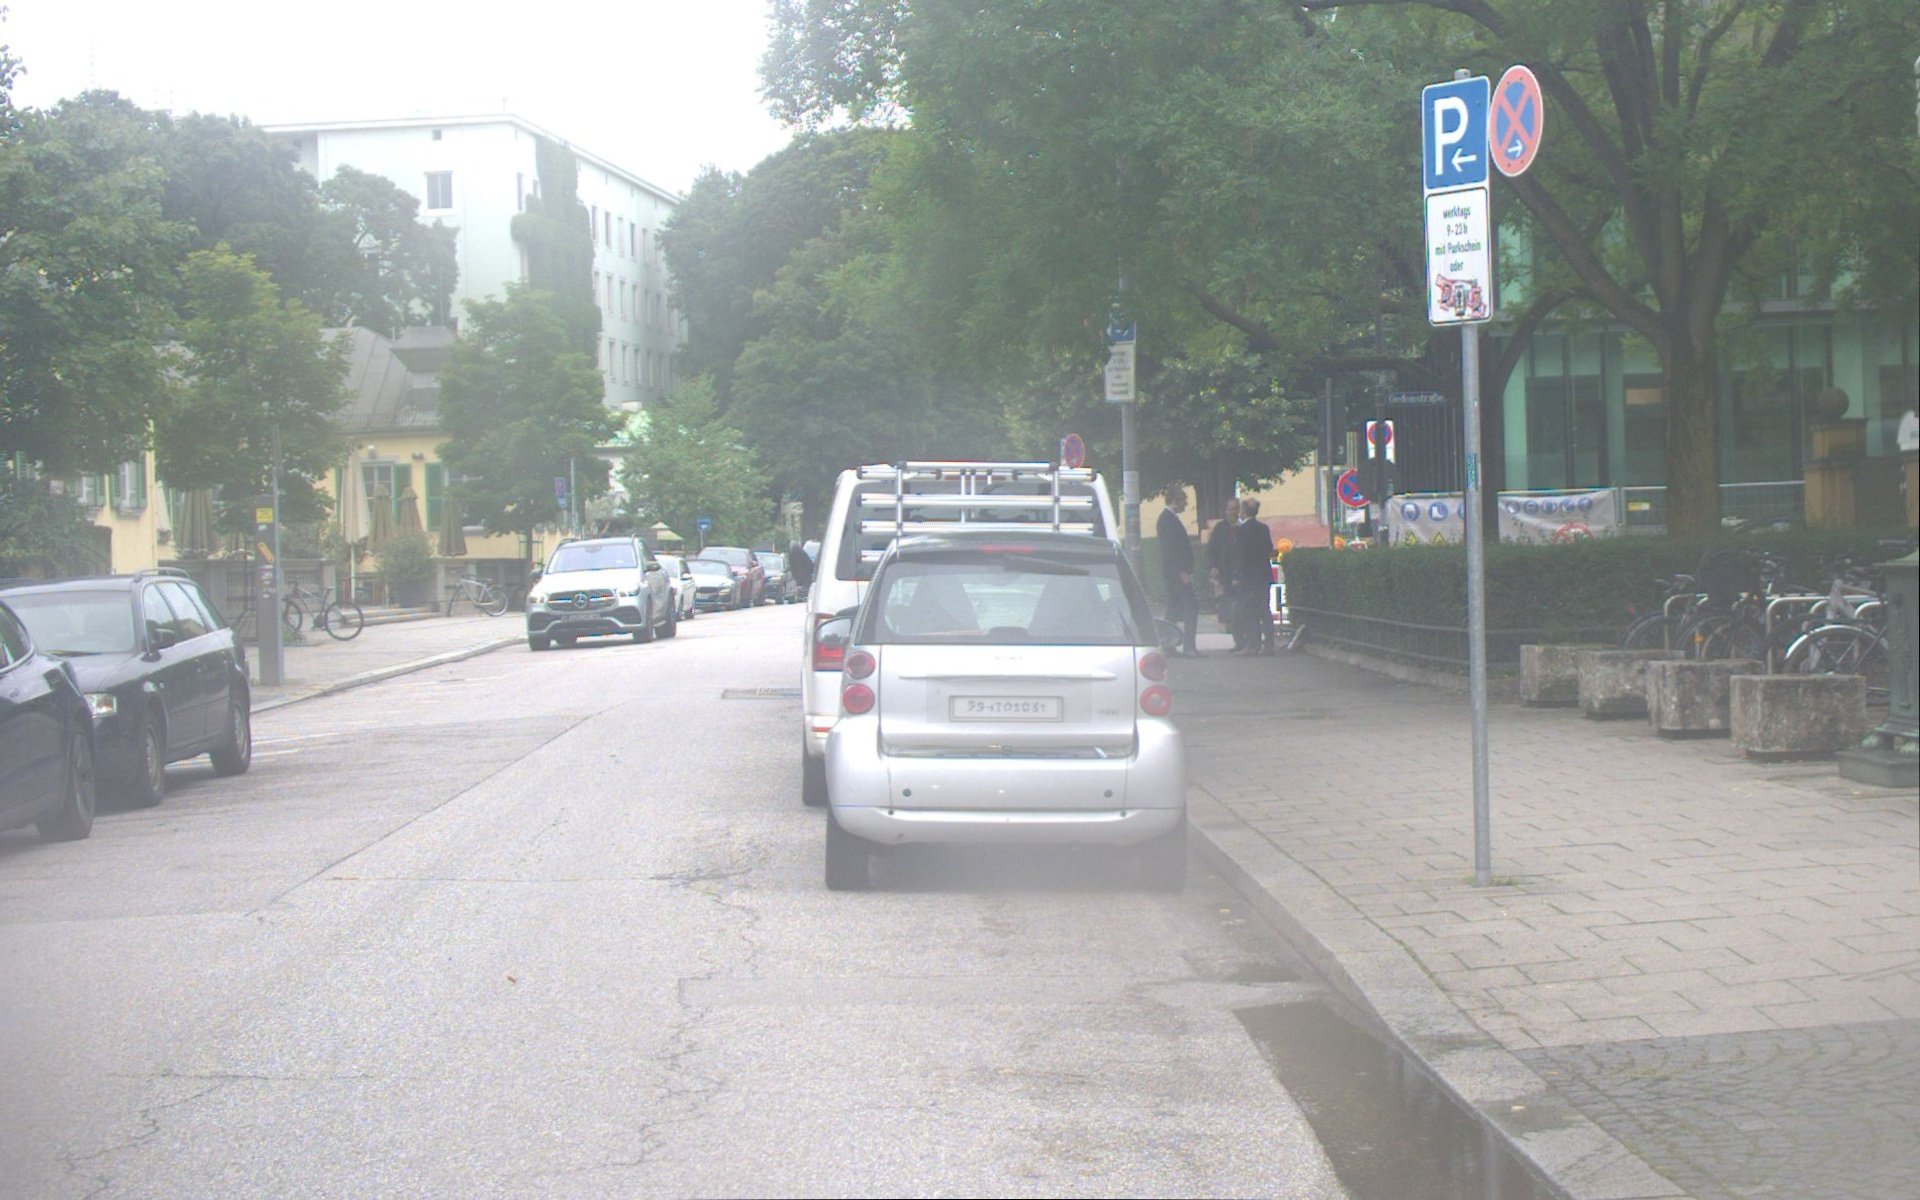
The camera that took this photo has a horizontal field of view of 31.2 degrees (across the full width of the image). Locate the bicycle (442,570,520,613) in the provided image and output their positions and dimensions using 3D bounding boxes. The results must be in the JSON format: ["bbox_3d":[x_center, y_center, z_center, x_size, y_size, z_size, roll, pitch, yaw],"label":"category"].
[{"bbox_3d":[-10.928,-0.196,78.434,1.613,0.922,0.651,-1,-1,-25],"label":"bicycle"}]

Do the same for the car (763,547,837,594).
[{"bbox_3d":[-5.300,-0.989,114.233,1.994,1.481,4.000,-1,1,3],"label":"car"}]

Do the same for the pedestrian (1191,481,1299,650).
[{"bbox_3d":[3.291,-0.401,39.659,0.744,1.901,1.054,-2,1,34],"label":"pedestrian"}]

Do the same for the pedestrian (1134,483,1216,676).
[{"bbox_3d":[2.422,-0.236,38.831,0.742,2.127,1.056,-2,1,-2],"label":"pedestrian"}]

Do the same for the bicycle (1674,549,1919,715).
[{"bbox_3d":[6.215,0.226,24.917,1.931,1.109,0.471,-3,1,1],"label":"bicycle"}]

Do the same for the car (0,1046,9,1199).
[{"bbox_3d":[-3.067,0.563,5.045,1.960,1.676,4.912,-3,1,-1],"label":"car"}]

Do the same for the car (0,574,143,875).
[{"bbox_3d":[-5.632,0.641,17.507,1.922,1.434,4.918,-3,1,-3],"label":"car"}]

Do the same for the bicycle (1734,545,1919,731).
[{"bbox_3d":[5.952,0.218,21.804,1.931,1.109,0.471,-3,1,1],"label":"bicycle"}]

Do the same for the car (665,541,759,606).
[{"bbox_3d":[-6.555,-0.721,91.285,1.993,1.643,4.655,-1,1,2],"label":"car"}]

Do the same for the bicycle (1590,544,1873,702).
[{"bbox_3d":[5.920,0.172,26.402,2.031,1.109,0.471,-3,1,-4],"label":"bicycle"}]

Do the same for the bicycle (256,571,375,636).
[{"bbox_3d":[-11.100,0.058,59.247,1.930,1.095,0.615,1,1,2],"label":"bicycle"}]

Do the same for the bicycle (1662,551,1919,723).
[{"bbox_3d":[5.964,0.254,24.124,1.931,1.109,0.471,-3,1,1],"label":"bicycle"}]

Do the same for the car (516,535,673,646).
[{"bbox_3d":[-5.968,-0.197,56.678,2.024,1.683,4.677,-2,1,0],"label":"car"}]

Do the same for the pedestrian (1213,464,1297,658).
[{"bbox_3d":[3.309,-0.440,38.590,0.742,2.127,1.056,-2,1,-2],"label":"pedestrian"}]

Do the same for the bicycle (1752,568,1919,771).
[{"bbox_3d":[5.615,0.371,19.857,1.931,1.109,0.471,-3,1,-4],"label":"bicycle"}]

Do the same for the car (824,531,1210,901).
[{"bbox_3d":[0.212,0.463,15.928,1.605,1.541,2.934,1,1,-1],"label":"car"}]

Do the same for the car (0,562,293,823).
[{"bbox_3d":[-5.914,0.548,22.765,1.993,1.485,4.883,-3,1,0],"label":"car"}]

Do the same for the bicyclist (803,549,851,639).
[{"bbox_3d":[-2.102,-0.098,54.517,0.704,1.388,0.868,1,0,0],"label":"bicyclist"}]

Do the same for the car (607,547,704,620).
[{"bbox_3d":[-6.951,-0.391,78.692,1.734,1.576,3.787,2,1,2],"label":"car"}]

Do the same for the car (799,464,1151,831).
[{"bbox_3d":[-0.023,0.213,21.024,1.845,1.926,5.273,1,1,-2],"label":"car"}]

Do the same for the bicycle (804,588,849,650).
[{"bbox_3d":[-2.117,0.296,54.543,0.626,0.951,1.860,1,0,0],"label":"bicycle"}]

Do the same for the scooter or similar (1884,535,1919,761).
[{"bbox_3d":[5.603,0.247,18.563,1.011,1.218,0.536,-2,1,44],"label":"scooter or similar"}]
